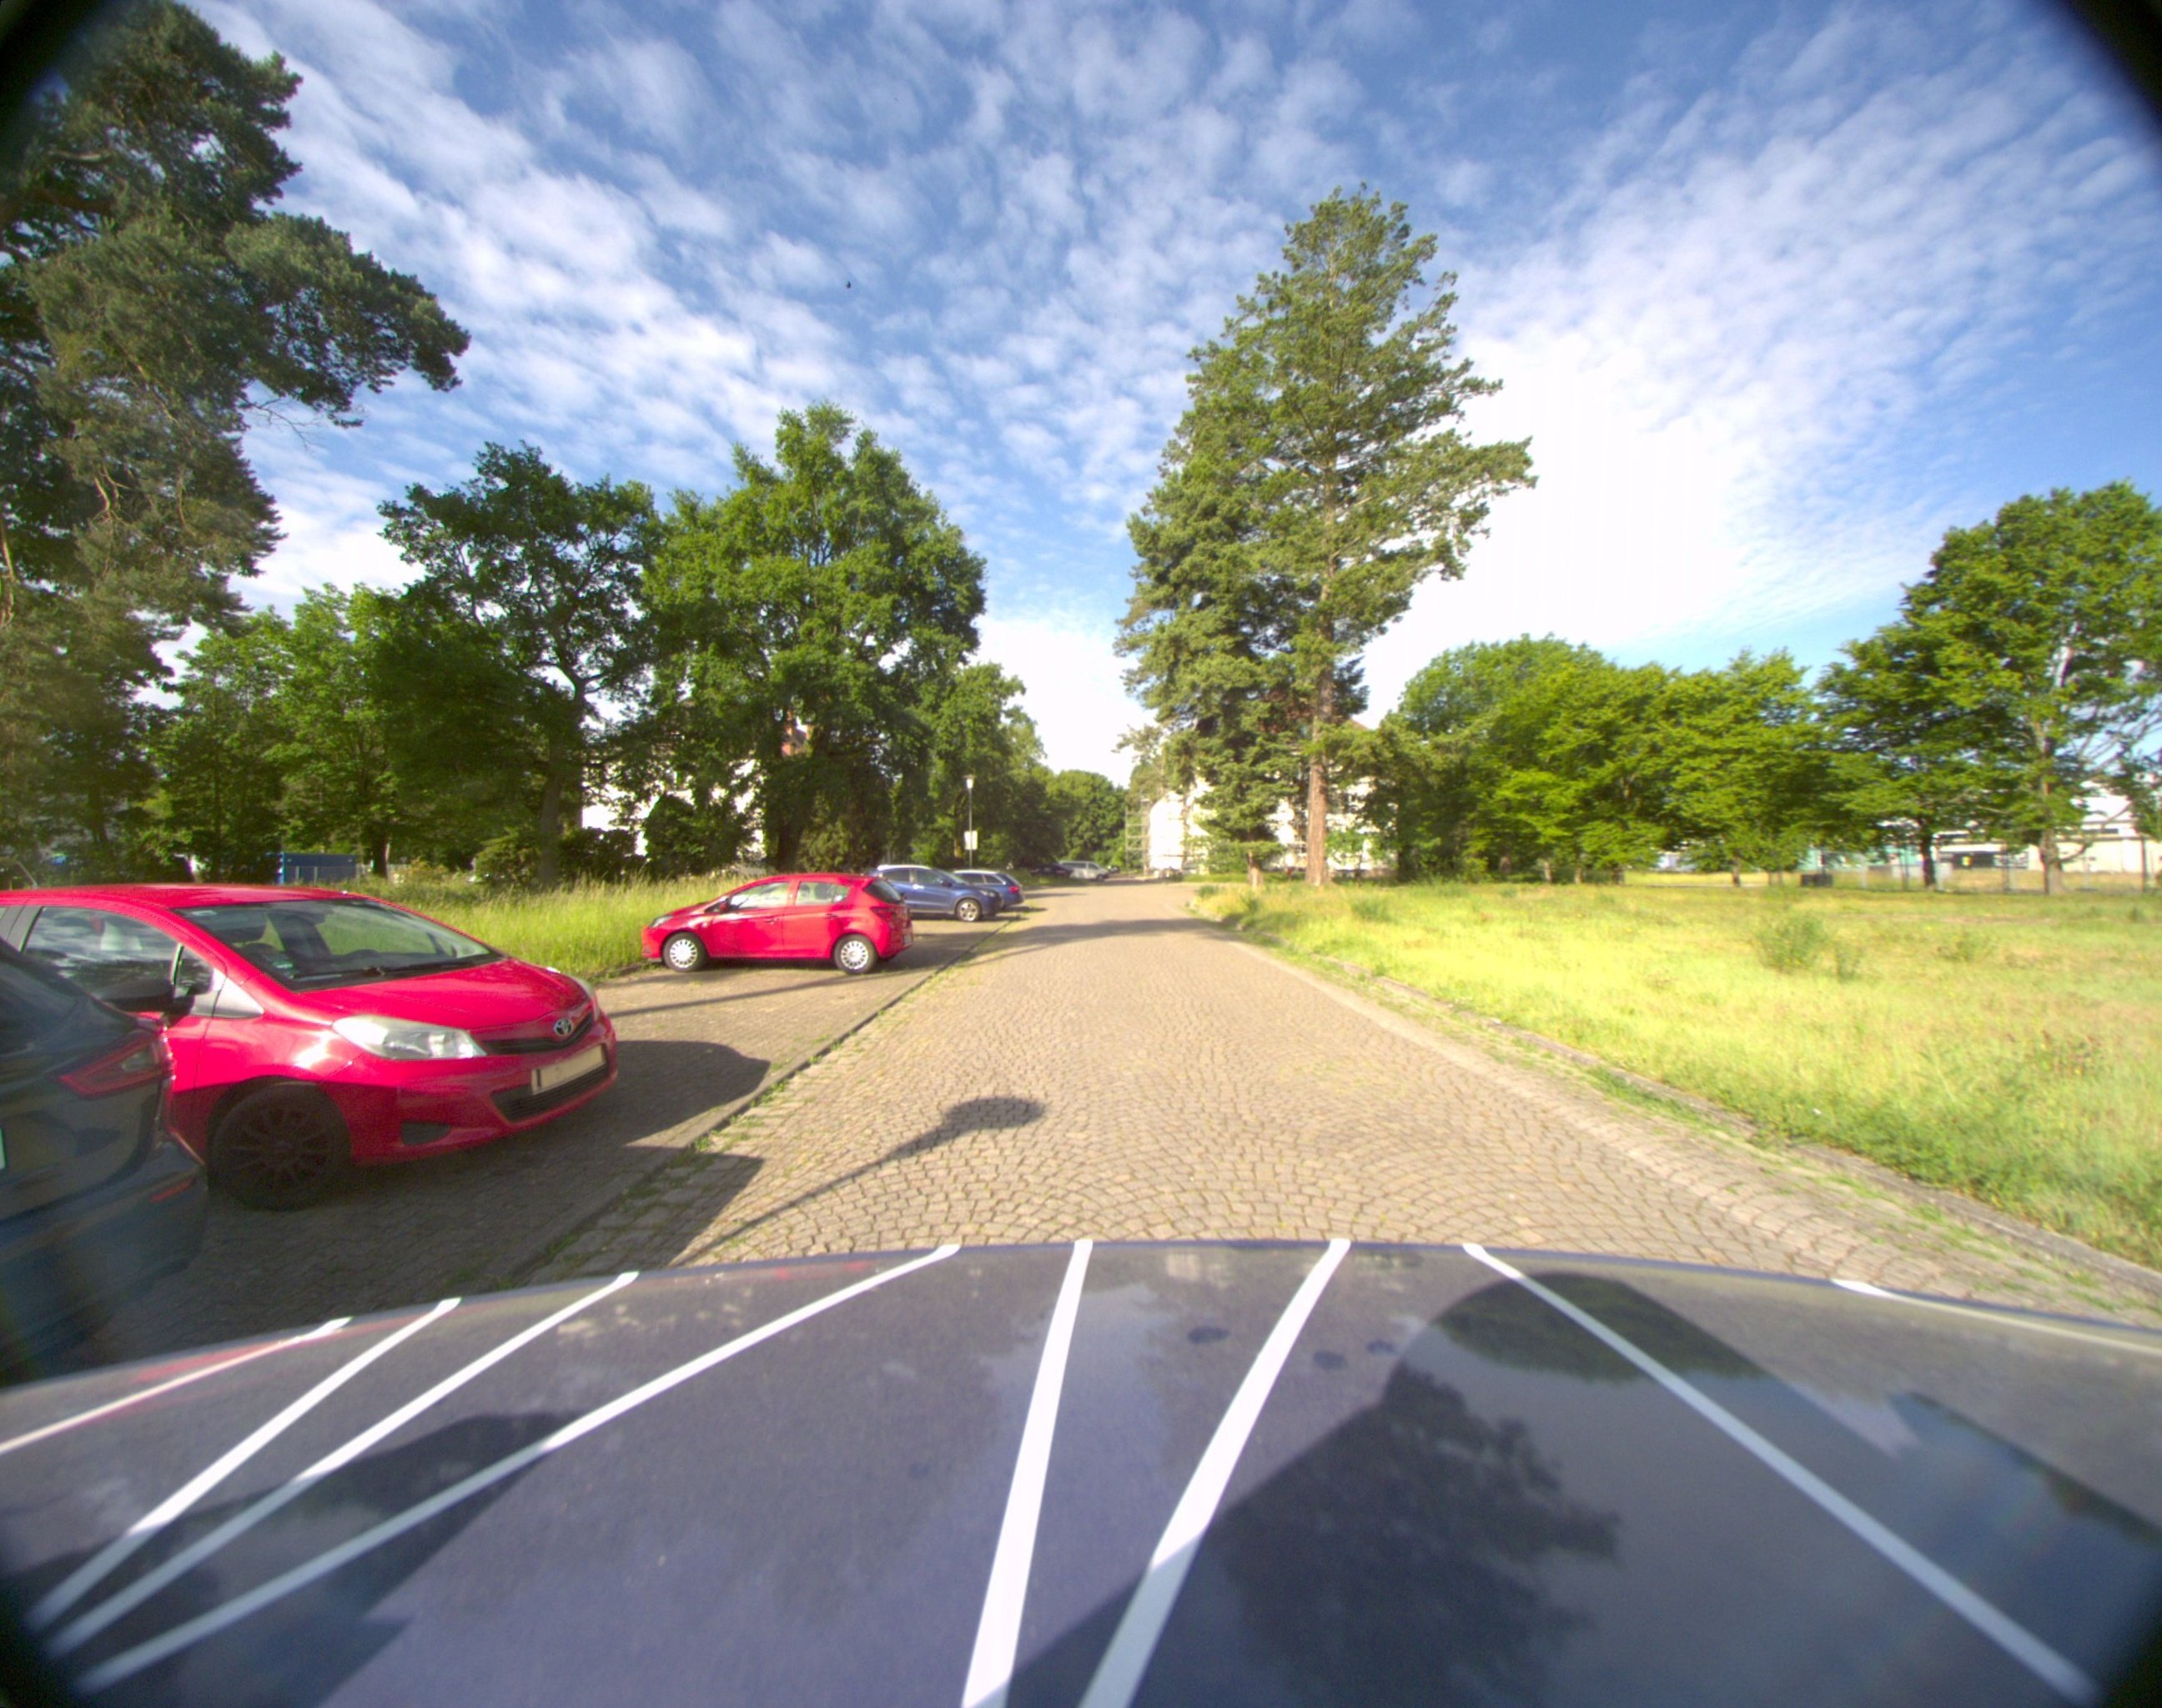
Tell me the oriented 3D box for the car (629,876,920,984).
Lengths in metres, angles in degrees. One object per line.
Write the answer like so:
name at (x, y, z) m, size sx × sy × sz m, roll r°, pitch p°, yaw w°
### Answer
car at (-4.607, 1.126, 11.826) m, size 3.837 × 1.470 × 1.645 m, roll 1°, pitch 0°, yaw -1°

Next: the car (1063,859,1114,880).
car at (0.735, 1.517, 75.469) m, size 4.936 × 2.002 × 2.000 m, roll 0°, pitch 0°, yaw 1°

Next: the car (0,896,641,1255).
car at (-4.816, 1.046, 4.233) m, size 3.772 × 1.521 × 1.646 m, roll 0°, pitch 0°, yaw 1°

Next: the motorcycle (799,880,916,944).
motorcycle at (-4.783, 1.229, 16.365) m, size 2.305 × 1.312 × 0.726 m, roll 0°, pitch 0°, yaw 0°

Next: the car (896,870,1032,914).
car at (-4.072, 1.304, 26.797) m, size 4.459 × 1.399 × 1.714 m, roll 1°, pitch 0°, yaw 3°

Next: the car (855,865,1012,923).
car at (-4.208, 1.144, 22.113) m, size 4.187 × 1.581 × 1.751 m, roll 0°, pitch 0°, yaw 0°

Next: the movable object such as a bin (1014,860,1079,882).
movable object such as a bin at (-2.827, 1.388, 62.659) m, size 4.931 × 1.749 × 2.003 m, roll -1°, pitch 0°, yaw 15°

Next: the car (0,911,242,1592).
car at (-4.589, 0.989, 1.459) m, size 3.946 × 1.612 × 1.772 m, roll 0°, pitch 0°, yaw -1°
